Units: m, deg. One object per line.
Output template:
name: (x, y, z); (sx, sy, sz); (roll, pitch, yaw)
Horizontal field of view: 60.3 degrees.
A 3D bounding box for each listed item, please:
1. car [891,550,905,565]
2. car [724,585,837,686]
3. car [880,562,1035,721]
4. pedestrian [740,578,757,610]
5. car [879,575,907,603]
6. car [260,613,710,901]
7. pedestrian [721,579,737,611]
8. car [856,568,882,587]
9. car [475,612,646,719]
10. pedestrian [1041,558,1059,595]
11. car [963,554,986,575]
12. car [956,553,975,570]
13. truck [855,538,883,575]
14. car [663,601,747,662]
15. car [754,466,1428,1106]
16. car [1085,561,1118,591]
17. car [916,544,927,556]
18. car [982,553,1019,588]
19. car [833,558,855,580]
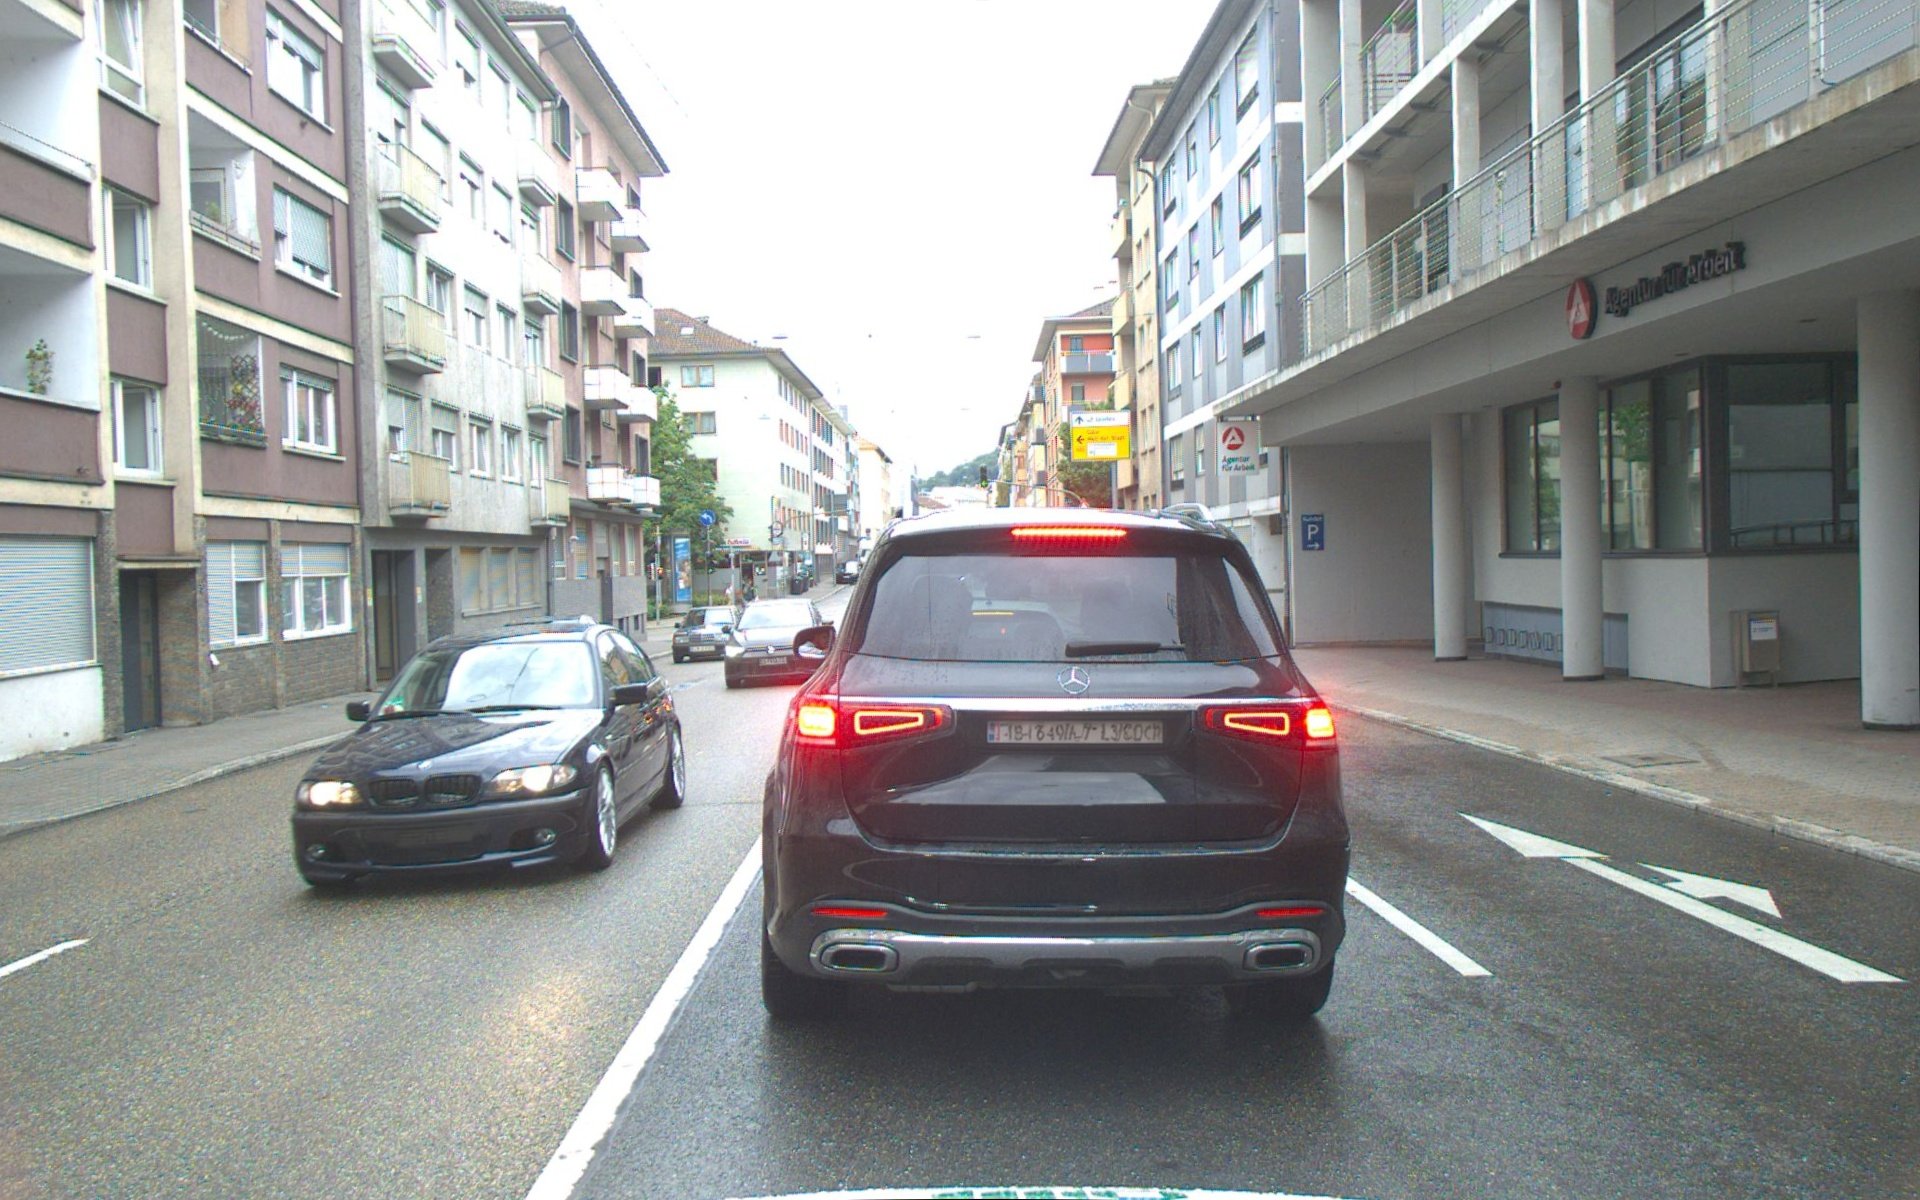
car: (-7.274, -4.936, 193.608); (1.586, 1.566, 4.215); (-3, 0, -3)
car: (-3.206, 0.621, 30.185); (1.661, 1.608, 4.216); (-4, -1, -2)
car: (-0.128, 0.477, 20.830); (1.716, 1.762, 4.215); (-1, 0, -3)
pedestrian: (-12.999, -0.397, 101.725); (0.904, 1.935, 0.706); (-2, 0, -3)
car: (-4.122, -0.644, 101.173); (1.586, 1.566, 4.215); (-3, 0, -3)
car: (-2.802, 0.837, 10.761); (1.660, 1.394, 4.217); (-4, -1, 0)
pedestrian: (-12.881, -0.287, 92.204); (0.622, 1.795, 0.774); (-2, 0, 14)
car: (-6.769, -1.659, 123.271); (1.848, 1.286, 4.215); (-3, 0, -3)
car: (-6.104, 0.941, 25.740); (1.661, 1.394, 4.364); (-4, 0, -2)
pedestrian: (5.127, -1.331, 94.165); (0.904, 2.049, 0.706); (-2, 0, -3)
car: (1.211, -2.989, 140.768); (1.586, 1.566, 4.215); (-3, 0, -3)
car: (0.535, -3.908, 167.771); (1.586, 1.566, 4.215); (-3, 0, -3)
truck: (-8.593, -4.045, 156.945); (2.430, 3.099, 9.914); (-3, 0, -3)
car: (-6.620, 0.790, 43.261); (1.566, 1.394, 4.361); (-4, 0, -2)
car: (0.358, 0.554, 7.022); (1.944, 1.836, 4.389); (1, 0, -1)
car: (8.099, -1.364, 94.757); (1.636, 1.616, 3.331); (-2, 1, 1)
car: (-5.814, -7.568, 250.163); (1.586, 1.566, 4.215); (-3, 0, -3)
car: (2.257, -1.665, 93.352); (1.689, 1.790, 4.215); (-3, 0, -3)
car: (-9.204, -2.478, 131.493); (1.586, 1.566, 4.215); (-3, 0, -3)
